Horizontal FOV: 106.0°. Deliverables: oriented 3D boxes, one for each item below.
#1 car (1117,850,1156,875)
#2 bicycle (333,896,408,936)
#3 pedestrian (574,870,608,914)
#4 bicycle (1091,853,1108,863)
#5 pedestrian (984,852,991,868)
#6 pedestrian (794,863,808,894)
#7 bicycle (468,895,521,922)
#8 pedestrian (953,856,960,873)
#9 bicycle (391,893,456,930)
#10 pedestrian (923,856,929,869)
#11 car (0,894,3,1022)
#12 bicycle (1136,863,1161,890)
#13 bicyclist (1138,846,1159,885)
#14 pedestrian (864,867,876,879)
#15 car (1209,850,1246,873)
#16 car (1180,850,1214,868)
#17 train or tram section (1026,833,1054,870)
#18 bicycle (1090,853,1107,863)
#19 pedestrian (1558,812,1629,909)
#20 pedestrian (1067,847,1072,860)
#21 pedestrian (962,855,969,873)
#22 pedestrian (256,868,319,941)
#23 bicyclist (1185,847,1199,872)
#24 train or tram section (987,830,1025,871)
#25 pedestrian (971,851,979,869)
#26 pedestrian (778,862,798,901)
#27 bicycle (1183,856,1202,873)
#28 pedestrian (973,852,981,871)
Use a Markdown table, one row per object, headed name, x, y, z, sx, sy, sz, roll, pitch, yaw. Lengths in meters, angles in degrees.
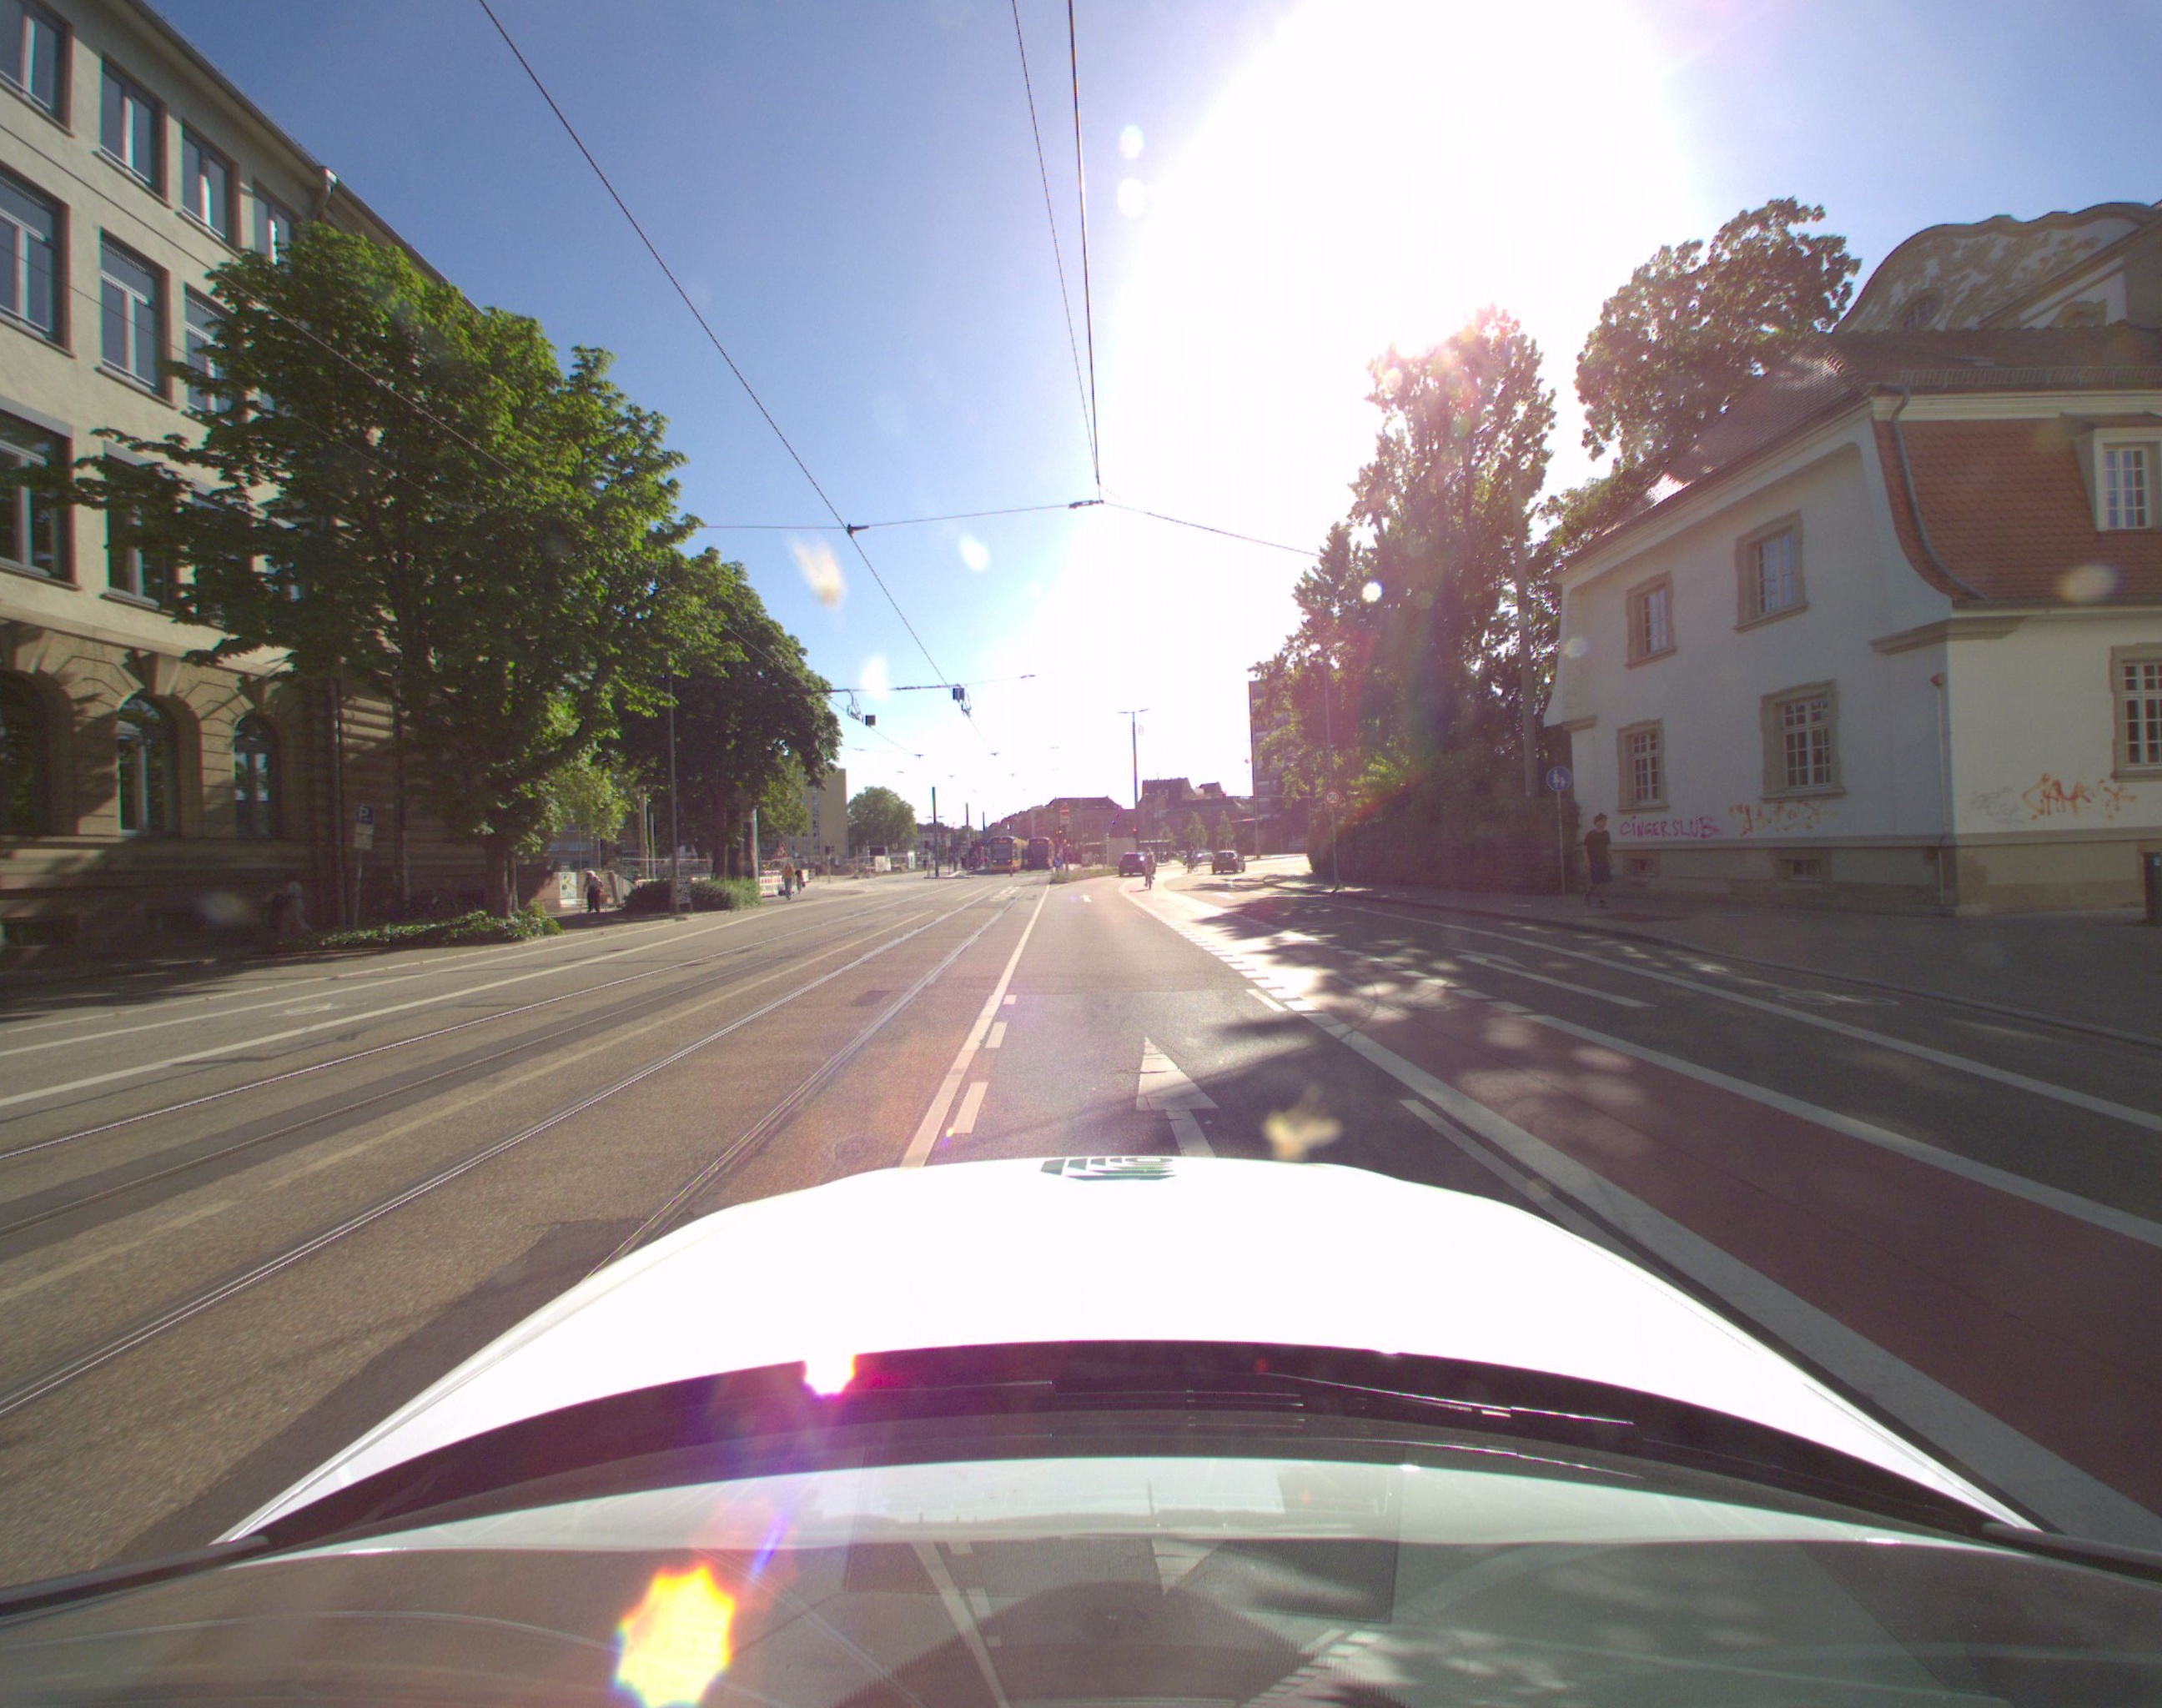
| name | x | y | z | sx | sy | sz | roll | pitch | yaw |
| --- | --- | --- | --- | --- | --- | --- | --- | --- | --- |
| car | 3.704 | 0.536 | 53.901 | 1.775 | 1.604 | 3.729 | -1 | 0 | 17 |
| bicycle | -18.398 | 1.593 | 21.131 | 0.479 | 0.917 | 1.619 | -2 | 0 | 0 |
| pedestrian | -17.553 | 1.349 | 29.192 | 0.925 | 1.504 | 0.700 | -2 | 0 | -24 |
| bicycle | 2.121 | 0.512 | 95.529 | 1.930 | 1.103 | 0.598 | -2 | 0 | -4 |
| pedestrian | -10.491 | 0.662 | 91.545 | 0.625 | 1.827 | 0.662 | -2 | 0 | -3 |
| pedestrian | -16.072 | 1.404 | 46.745 | 0.621 | 1.697 | 0.674 | -2 | 0 | -23 |
| bicycle | -18.532 | 1.721 | 25.784 | 0.479 | 0.724 | 1.619 | -2 | 0 | 0 |
| pedestrian | -13.345 | 1.118 | 87.135 | 0.625 | 1.827 | 0.662 | -2 | 0 | -3 |
| bicycle | -18.432 | 1.605 | 22.876 | 0.479 | 0.917 | 1.619 | -2 | 0 | 0 |
| pedestrian | -20.389 | 1.113 | 107.276 | 0.625 | 1.697 | 0.662 | -2 | 0 | -3 |
| car | -14.432 | 1.282 | 8.113 | 4.011 | 1.550 | 1.860 | -1 | 0 | -29 |
| bicycle | 3.011 | 0.979 | 36.150 | 0.699 | 1.104 | 1.725 | 0 | 1 | 18 |
| bicyclist | 3.004 | 0.506 | 36.144 | 0.699 | 1.675 | 1.106 | 0 | 0 | 18 |
| pedestrian | -20.066 | 1.821 | 77.446 | 0.895 | 1.046 | 0.655 | -2 | 0 | -1 |
| car | 9.971 | 0.497 | 55.269 | 1.773 | 1.511 | 3.732 | -1 | 0 | 21 |
| car | 10.869 | 0.433 | 76.276 | 1.685 | 1.643 | 3.736 | -1 | 0 | 34 |
| train or tram section | -4.463 | -0.298 | 90.782 | 2.735 | 3.651 | 13.775 | -2 | 0 | -2 |
| bicycle | 2.084 | 0.516 | 96.298 | 1.930 | 1.103 | 0.598 | -2 | 0 | -4 |
| pedestrian | 10.660 | 0.128 | 16.978 | 0.635 | 1.903 | 1.134 | -4 | 0 | 0 |
| pedestrian | -1.707 | -0.037 | 121.608 | 0.661 | 1.953 | 0.625 | -2 | 0 | -13 |
| pedestrian | -12.374 | 1.057 | 87.366 | 0.625 | 1.827 | 0.662 | -2 | 0 | -3 |
| pedestrian | -18.338 | 1.156 | 18.840 | 0.698 | 1.635 | 0.759 | 0 | 0 | -2 |
| bicyclist | 7.693 | 0.386 | 56.482 | 0.698 | 1.700 | 0.992 | 0 | 1 | 23 |
| train or tram section | -7.229 | -0.347 | 80.242 | 2.735 | 3.651 | 13.775 | -2 | 0 | -2 |
| pedestrian | -11.098 | 0.656 | 85.244 | 0.625 | 1.827 | 0.662 | -2 | 0 | -3 |
| pedestrian | -13.343 | 1.253 | 37.087 | 0.636 | 1.697 | 0.817 | -4 | 0 | -9 |
| bicycle | 7.783 | 0.727 | 56.697 | 0.698 | 1.055 | 2.326 | 0 | 1 | 23 |
| pedestrian | -10.247 | 0.740 | 80.207 | 0.625 | 1.827 | 0.662 | -2 | 0 | -3 |
